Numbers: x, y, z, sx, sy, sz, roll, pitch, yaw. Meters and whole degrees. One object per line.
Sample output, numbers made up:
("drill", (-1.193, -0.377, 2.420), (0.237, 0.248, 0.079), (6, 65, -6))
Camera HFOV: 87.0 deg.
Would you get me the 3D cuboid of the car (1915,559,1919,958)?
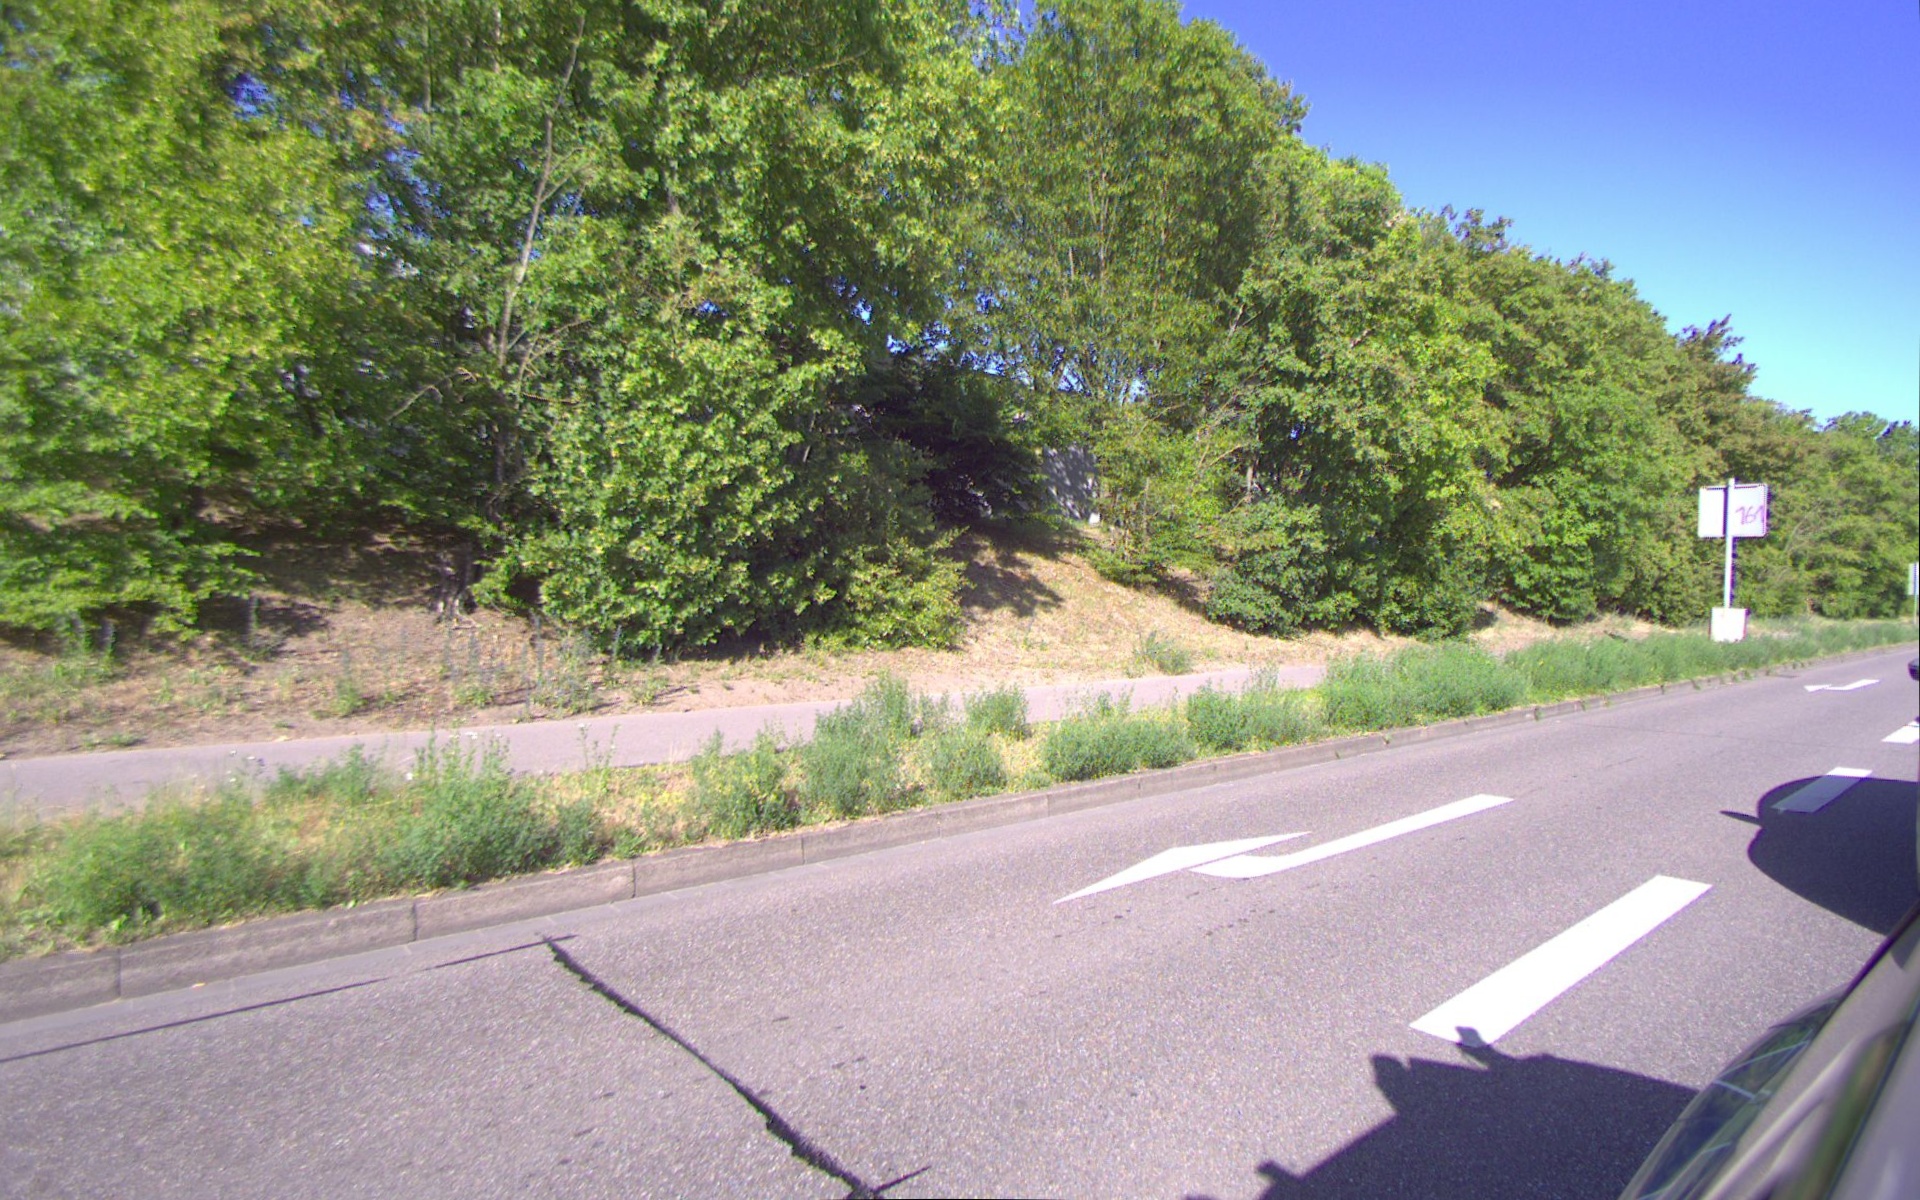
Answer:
("car", (5.951, 0.659, 4.671), (3.863, 1.617, 1.869), (0, 0, -41))
